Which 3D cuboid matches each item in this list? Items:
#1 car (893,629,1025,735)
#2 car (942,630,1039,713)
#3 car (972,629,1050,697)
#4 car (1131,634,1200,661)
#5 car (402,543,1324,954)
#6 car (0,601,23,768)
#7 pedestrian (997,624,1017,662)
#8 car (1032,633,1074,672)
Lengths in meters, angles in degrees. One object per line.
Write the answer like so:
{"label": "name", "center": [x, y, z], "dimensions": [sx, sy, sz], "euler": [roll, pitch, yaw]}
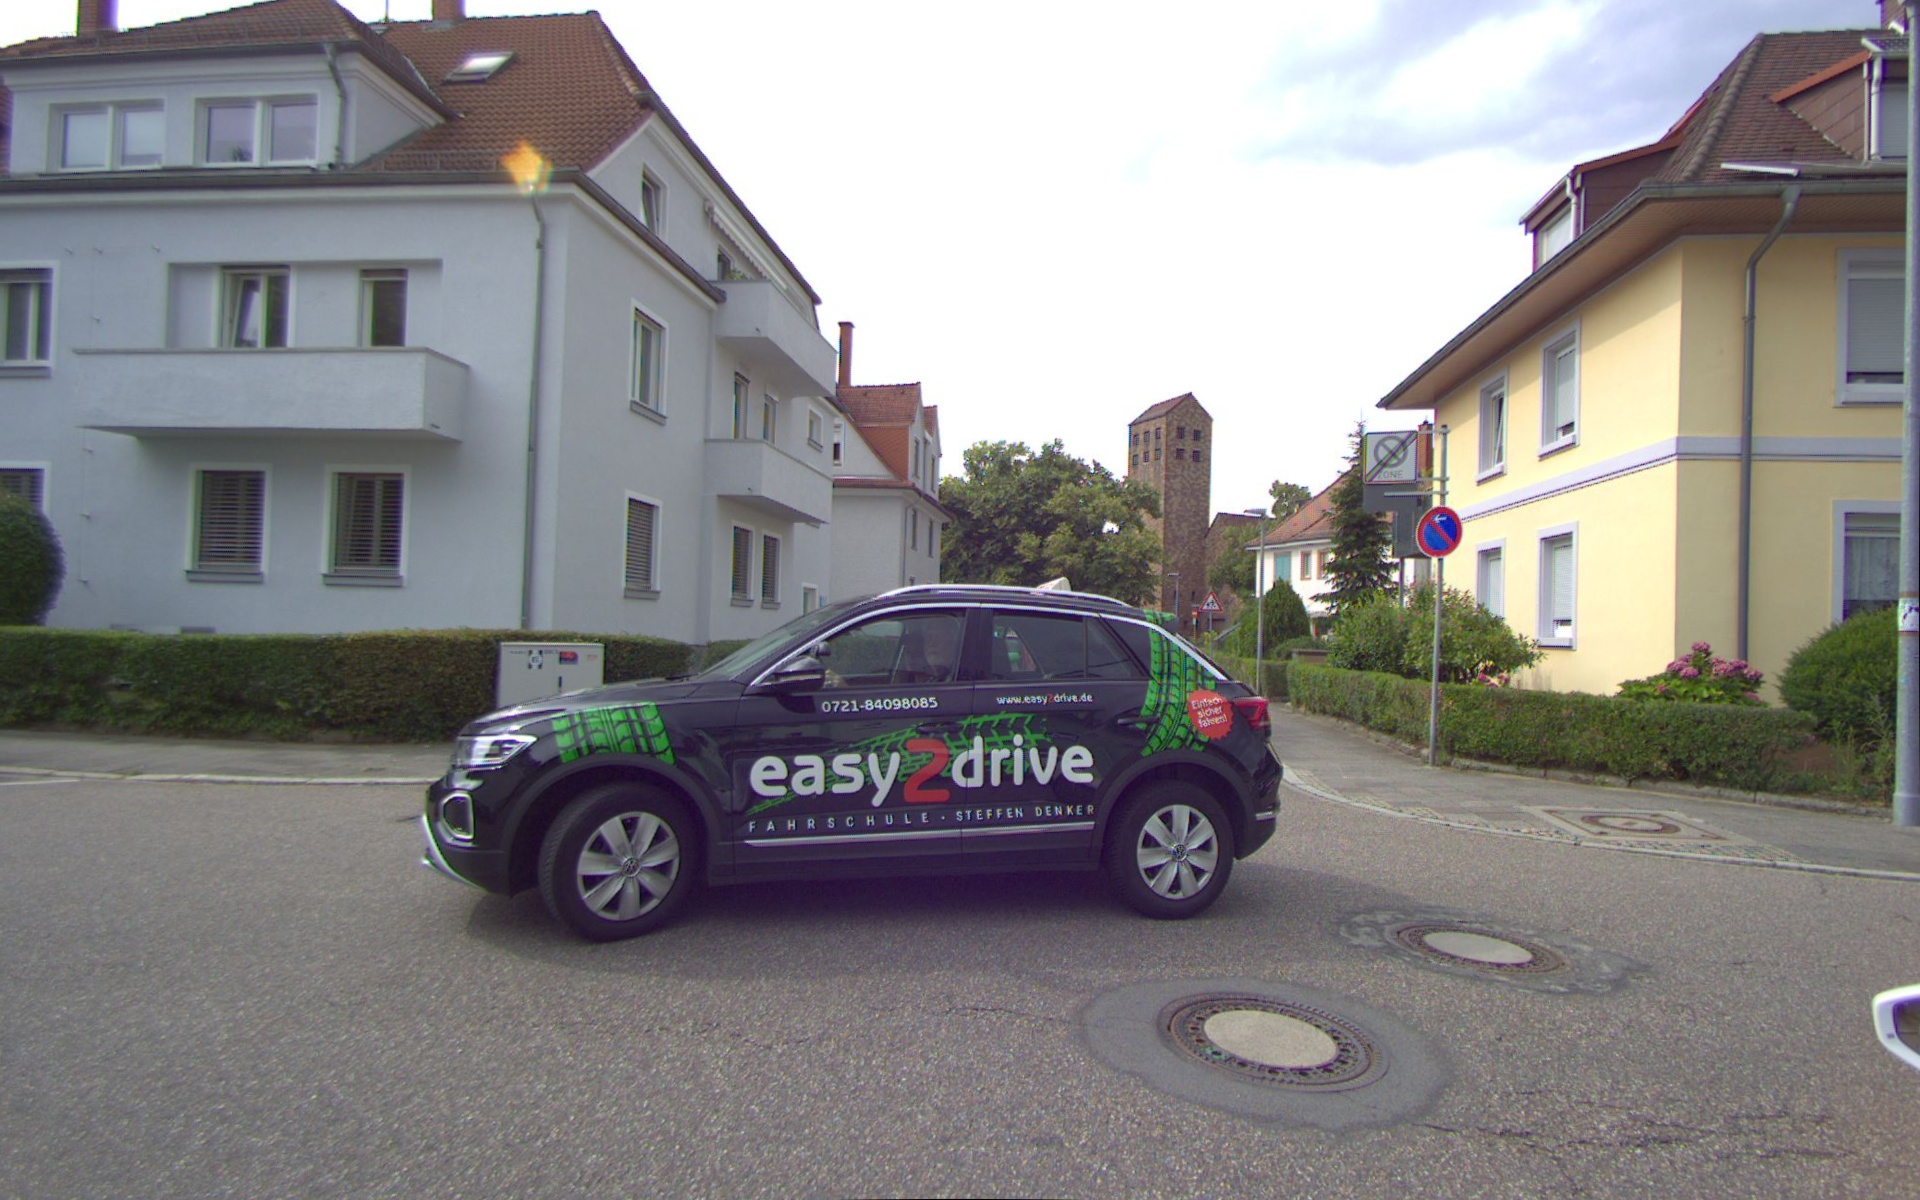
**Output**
{"label": "car", "center": [0.091, 1.212, 15.755], "dimensions": [1.617, 1.440, 3.484], "euler": [-2, -2, 7]}
{"label": "car", "center": [0.706, 1.397, 20.530], "dimensions": [1.617, 1.515, 3.484], "euler": [-2, -2, 7]}
{"label": "car", "center": [1.320, 1.504, 24.789], "dimensions": [1.617, 1.515, 3.484], "euler": [-2, -2, 7]}
{"label": "car", "center": [12.898, 2.952, 63.202], "dimensions": [4.142, 1.483, 1.685], "euler": [2, 0, 7]}
{"label": "car", "center": [-0.396, 0.652, 5.204], "dimensions": [3.977, 1.540, 1.816], "euler": [2, -2, -16]}
{"label": "car", "center": [-10.700, 0.671, 8.402], "dimensions": [4.091, 1.491, 1.861], "euler": [2, -2, 5]}
{"label": "pedestrian", "center": [2.350, 2.155, 50.435], "dimensions": [0.866, 1.903, 1.079], "euler": [1, -1, 8]}
{"label": "car", "center": [3.985, 2.201, 42.552], "dimensions": [1.617, 1.515, 3.484], "euler": [-2, -2, 7]}
